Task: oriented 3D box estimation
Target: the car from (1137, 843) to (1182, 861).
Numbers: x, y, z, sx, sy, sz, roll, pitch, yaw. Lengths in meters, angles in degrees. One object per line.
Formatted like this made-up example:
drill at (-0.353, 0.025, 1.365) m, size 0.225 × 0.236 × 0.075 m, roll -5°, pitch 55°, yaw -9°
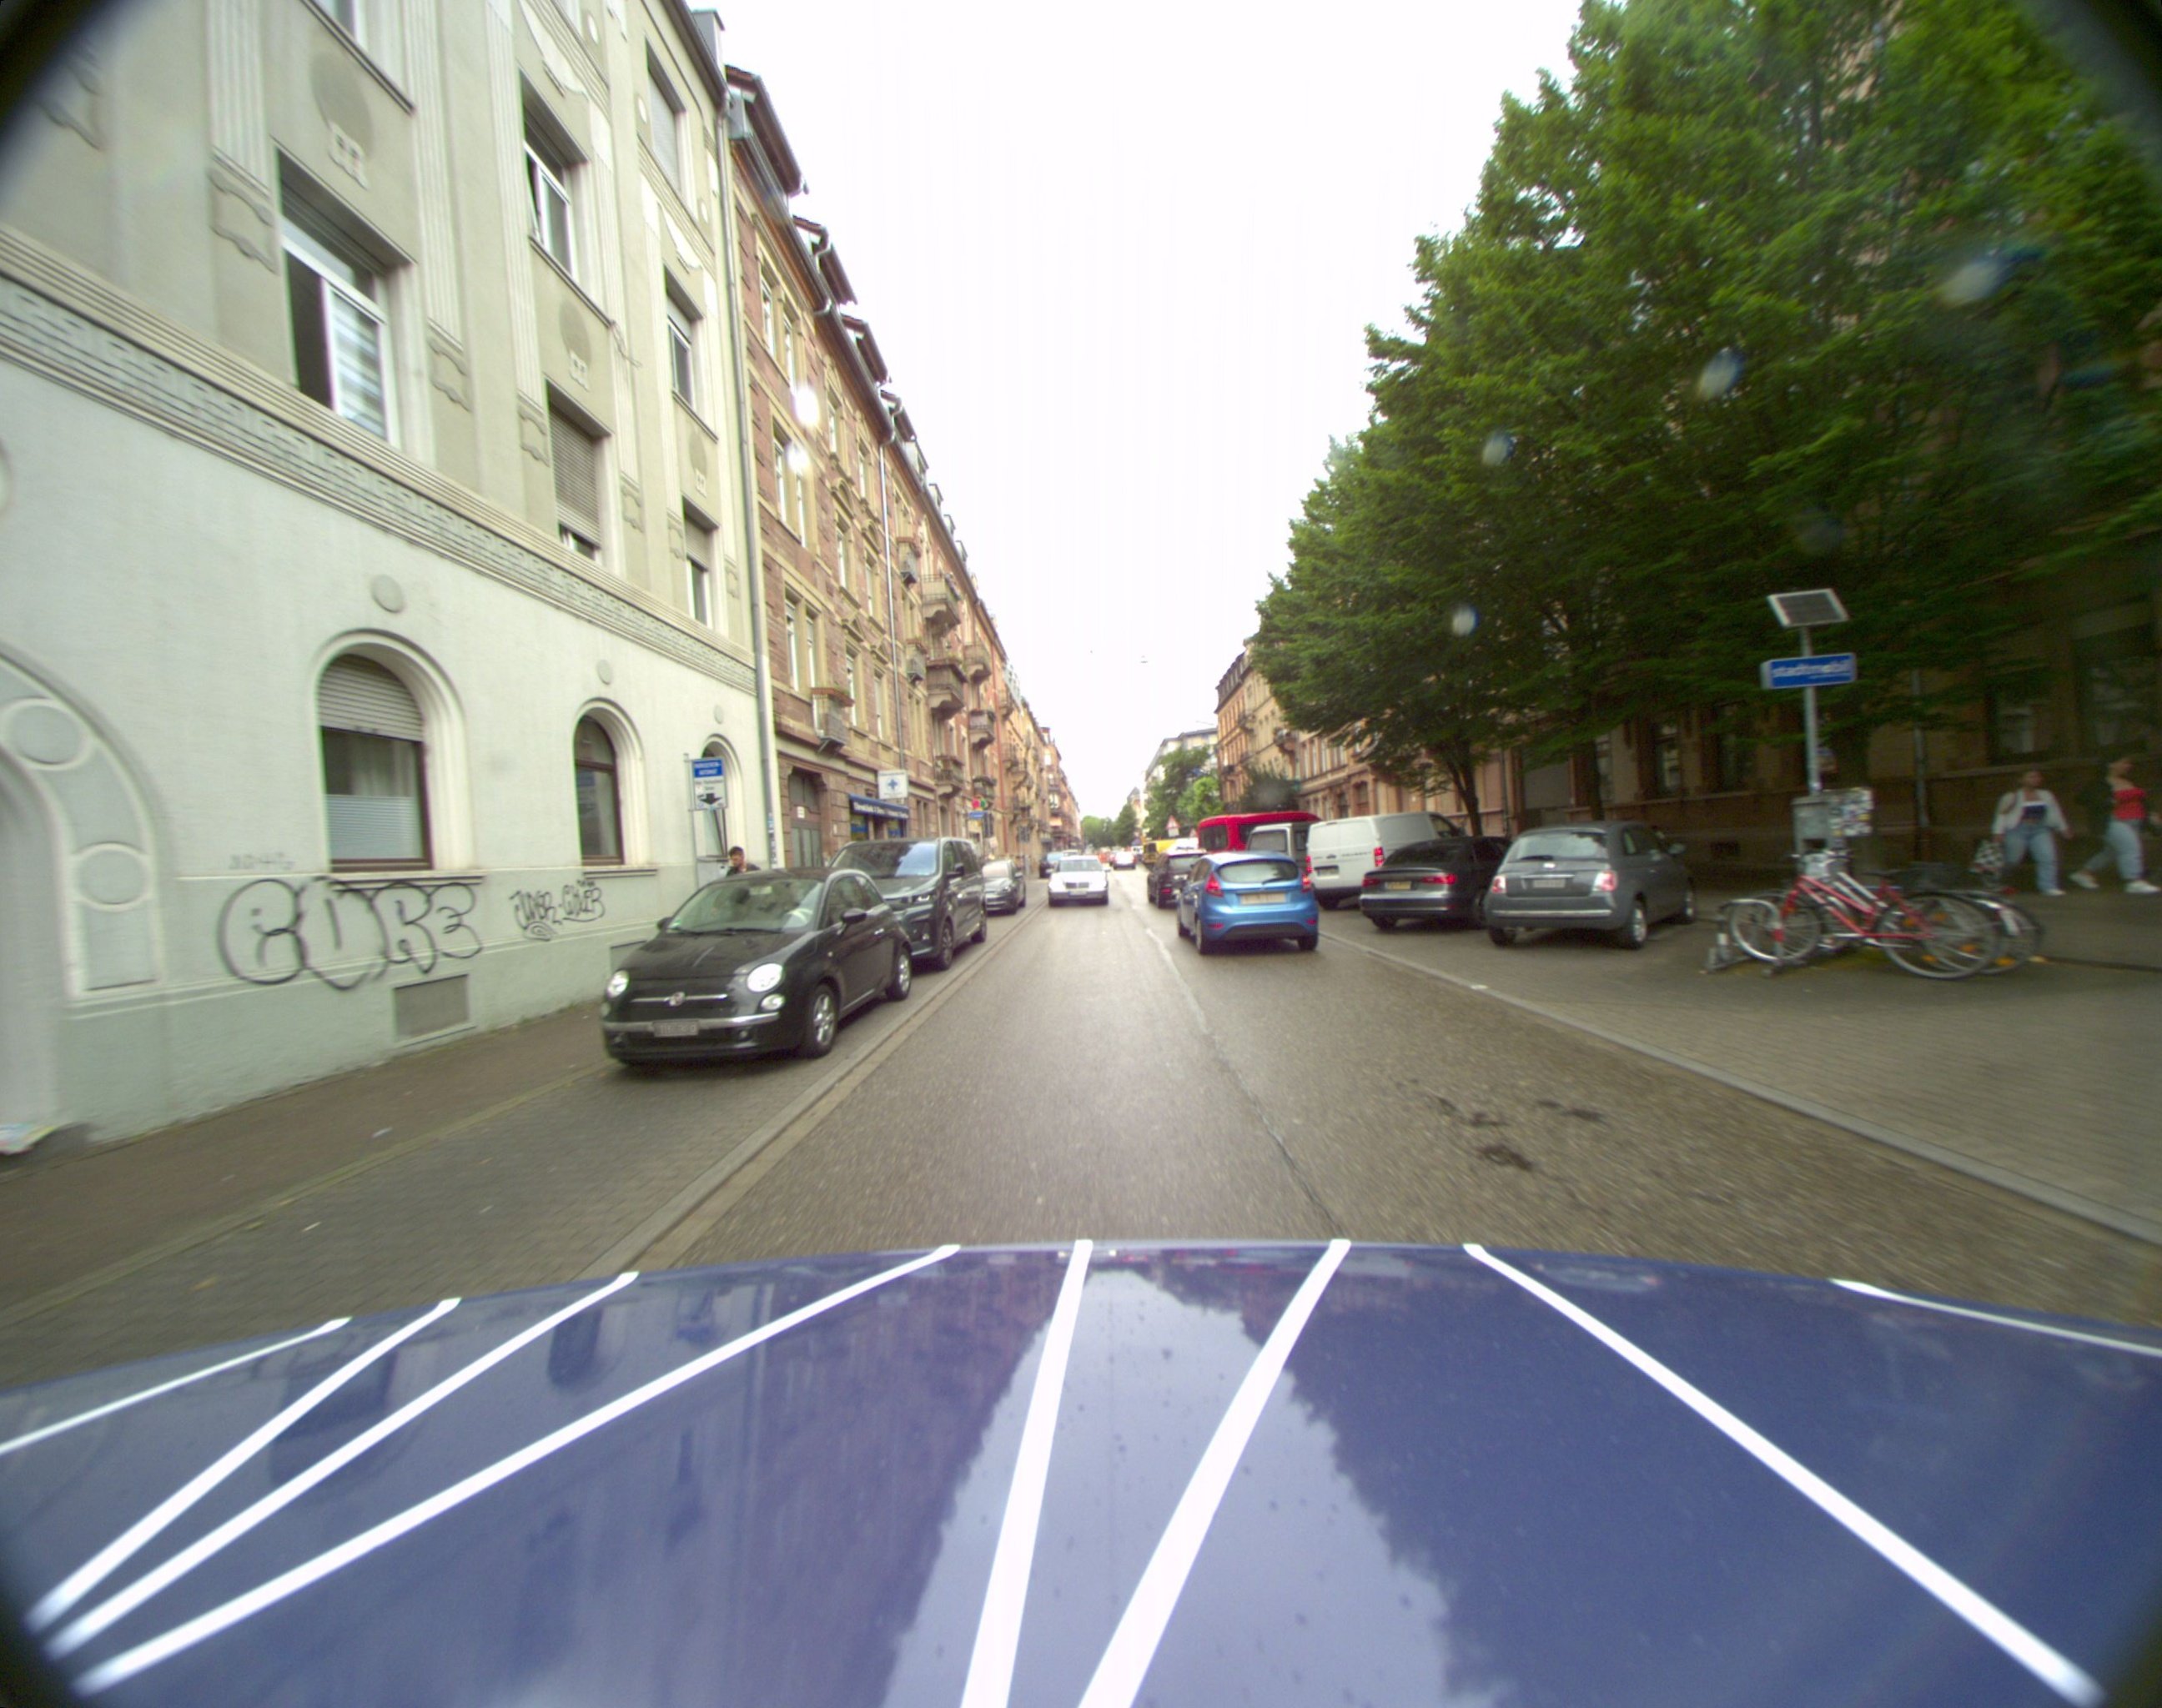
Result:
car at (8.555, -0.245, 82.641) m, size 4.464 × 1.555 × 1.995 m, roll -7°, pitch 3°, yaw -35°

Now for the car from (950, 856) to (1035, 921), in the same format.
car at (-2.400, 0.888, 21.588) m, size 1.845 × 1.536 × 4.003 m, roll -3°, pitch 1°, yaw 0°

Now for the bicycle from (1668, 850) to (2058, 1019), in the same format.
bicycle at (6.521, 0.608, 6.581) m, size 0.750 × 1.151 × 2.218 m, roll -4°, pitch -1°, yaw -14°

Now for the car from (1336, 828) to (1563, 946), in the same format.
car at (6.221, 0.468, 12.662) m, size 3.985 × 1.438 × 1.763 m, roll -6°, pitch 1°, yaw -38°

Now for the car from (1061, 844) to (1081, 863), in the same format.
car at (-1.099, -0.069, 80.924) m, size 1.999 × 1.928 × 5.229 m, roll -2°, pitch 1°, yaw -1°

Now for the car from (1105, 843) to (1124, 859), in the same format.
car at (3.602, -0.306, 82.614) m, size 1.863 × 1.650 × 5.008 m, roll -3°, pitch 0°, yaw 2°

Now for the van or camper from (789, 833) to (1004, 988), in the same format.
van or camper at (-2.586, 0.703, 12.146) m, size 2.026 × 1.880 × 5.055 m, roll -2°, pitch 0°, yaw 1°

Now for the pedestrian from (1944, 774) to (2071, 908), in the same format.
pedestrian at (11.170, -0.153, 9.177) m, size 0.690 × 1.488 × 0.587 m, roll -7°, pitch 1°, yaw -4°

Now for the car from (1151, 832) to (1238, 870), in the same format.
car at (7.330, -0.213, 48.950) m, size 5.258 × 2.066 × 1.867 m, roll -5°, pitch 1°, yaw -23°

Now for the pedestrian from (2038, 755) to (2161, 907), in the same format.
pedestrian at (11.525, -0.248, 8.567) m, size 0.568 × 1.593 × 0.589 m, roll -7°, pitch 1°, yaw -4°

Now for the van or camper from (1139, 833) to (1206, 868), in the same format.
van or camper at (7.264, -0.285, 60.291) m, size 4.732 × 2.254 × 2.180 m, roll -6°, pitch 0°, yaw -31°

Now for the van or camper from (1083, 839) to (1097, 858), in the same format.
van or camper at (1.687, -1.070, 143.555) m, size 2.411 × 3.308 × 7.073 m, roll -4°, pitch 0°, yaw 0°

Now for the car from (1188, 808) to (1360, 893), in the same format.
car at (6.779, -0.153, 26.594) m, size 5.579 × 2.526 × 2.225 m, roll -4°, pitch 0°, yaw -26°

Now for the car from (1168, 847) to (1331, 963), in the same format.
car at (2.469, 0.663, 12.116) m, size 1.674 × 1.457 × 4.003 m, roll -3°, pitch 1°, yaw 0°

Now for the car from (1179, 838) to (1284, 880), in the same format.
car at (6.911, 0.234, 34.851) m, size 4.360 × 1.496 × 1.752 m, roll -6°, pitch 0°, yaw -21°

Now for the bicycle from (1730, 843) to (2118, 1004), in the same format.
bicycle at (7.283, 0.548, 6.783) m, size 0.784 × 1.151 × 2.144 m, roll -4°, pitch -1°, yaw -14°

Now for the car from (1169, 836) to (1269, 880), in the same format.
car at (6.774, 0.198, 37.307) m, size 4.449 × 1.621 × 1.841 m, roll -7°, pitch 1°, yaw -24°

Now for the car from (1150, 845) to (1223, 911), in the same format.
car at (2.840, 0.590, 21.114) m, size 1.673 × 1.550 × 4.004 m, roll -3°, pitch 1°, yaw 5°

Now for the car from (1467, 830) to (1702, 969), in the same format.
car at (6.676, 0.479, 9.957) m, size 3.487 × 1.427 × 1.647 m, roll -3°, pitch 1°, yaw -41°

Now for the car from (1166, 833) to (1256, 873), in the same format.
car at (7.395, -0.075, 43.515) m, size 4.590 × 1.775 × 2.545 m, roll -6°, pitch 1°, yaw 1°

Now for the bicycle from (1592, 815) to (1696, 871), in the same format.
bicycle at (13.399, -0.254, 18.195) m, size 0.668 × 1.186 × 2.413 m, roll -7°, pitch 0°, yaw 2°

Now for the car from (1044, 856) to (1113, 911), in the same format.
car at (-0.111, 0.834, 23.993) m, size 1.859 × 1.391 × 4.979 m, roll -4°, pitch 1°, yaw -1°

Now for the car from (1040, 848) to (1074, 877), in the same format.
car at (-1.589, 0.524, 51.226) m, size 1.998 × 1.769 × 4.826 m, roll -3°, pitch 1°, yaw 0°

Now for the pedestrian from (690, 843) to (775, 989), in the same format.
pedestrian at (-4.832, 0.848, 10.562) m, size 0.827 × 1.941 × 0.415 m, roll -4°, pitch 3°, yaw 2°

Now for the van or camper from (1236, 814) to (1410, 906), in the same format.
van or camper at (6.480, 0.107, 20.205) m, size 4.454 × 1.964 × 1.778 m, roll -6°, pitch 1°, yaw -31°

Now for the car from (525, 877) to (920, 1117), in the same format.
car at (-2.764, 1.004, 6.881) m, size 1.714 × 1.392 × 3.704 m, roll -2°, pitch 0°, yaw 1°

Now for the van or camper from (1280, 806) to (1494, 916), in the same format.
van or camper at (6.902, 0.107, 16.915) m, size 4.705 × 1.941 × 2.332 m, roll -6°, pitch 0°, yaw -40°

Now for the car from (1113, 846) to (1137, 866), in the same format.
car at (3.742, 0.218, 65.399) m, size 1.800 × 1.484 × 4.584 m, roll -4°, pitch -1°, yaw 1°

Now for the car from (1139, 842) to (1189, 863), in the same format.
car at (8.472, -0.169, 77.822) m, size 4.731 × 1.554 × 1.996 m, roll -6°, pitch 0°, yaw -32°
